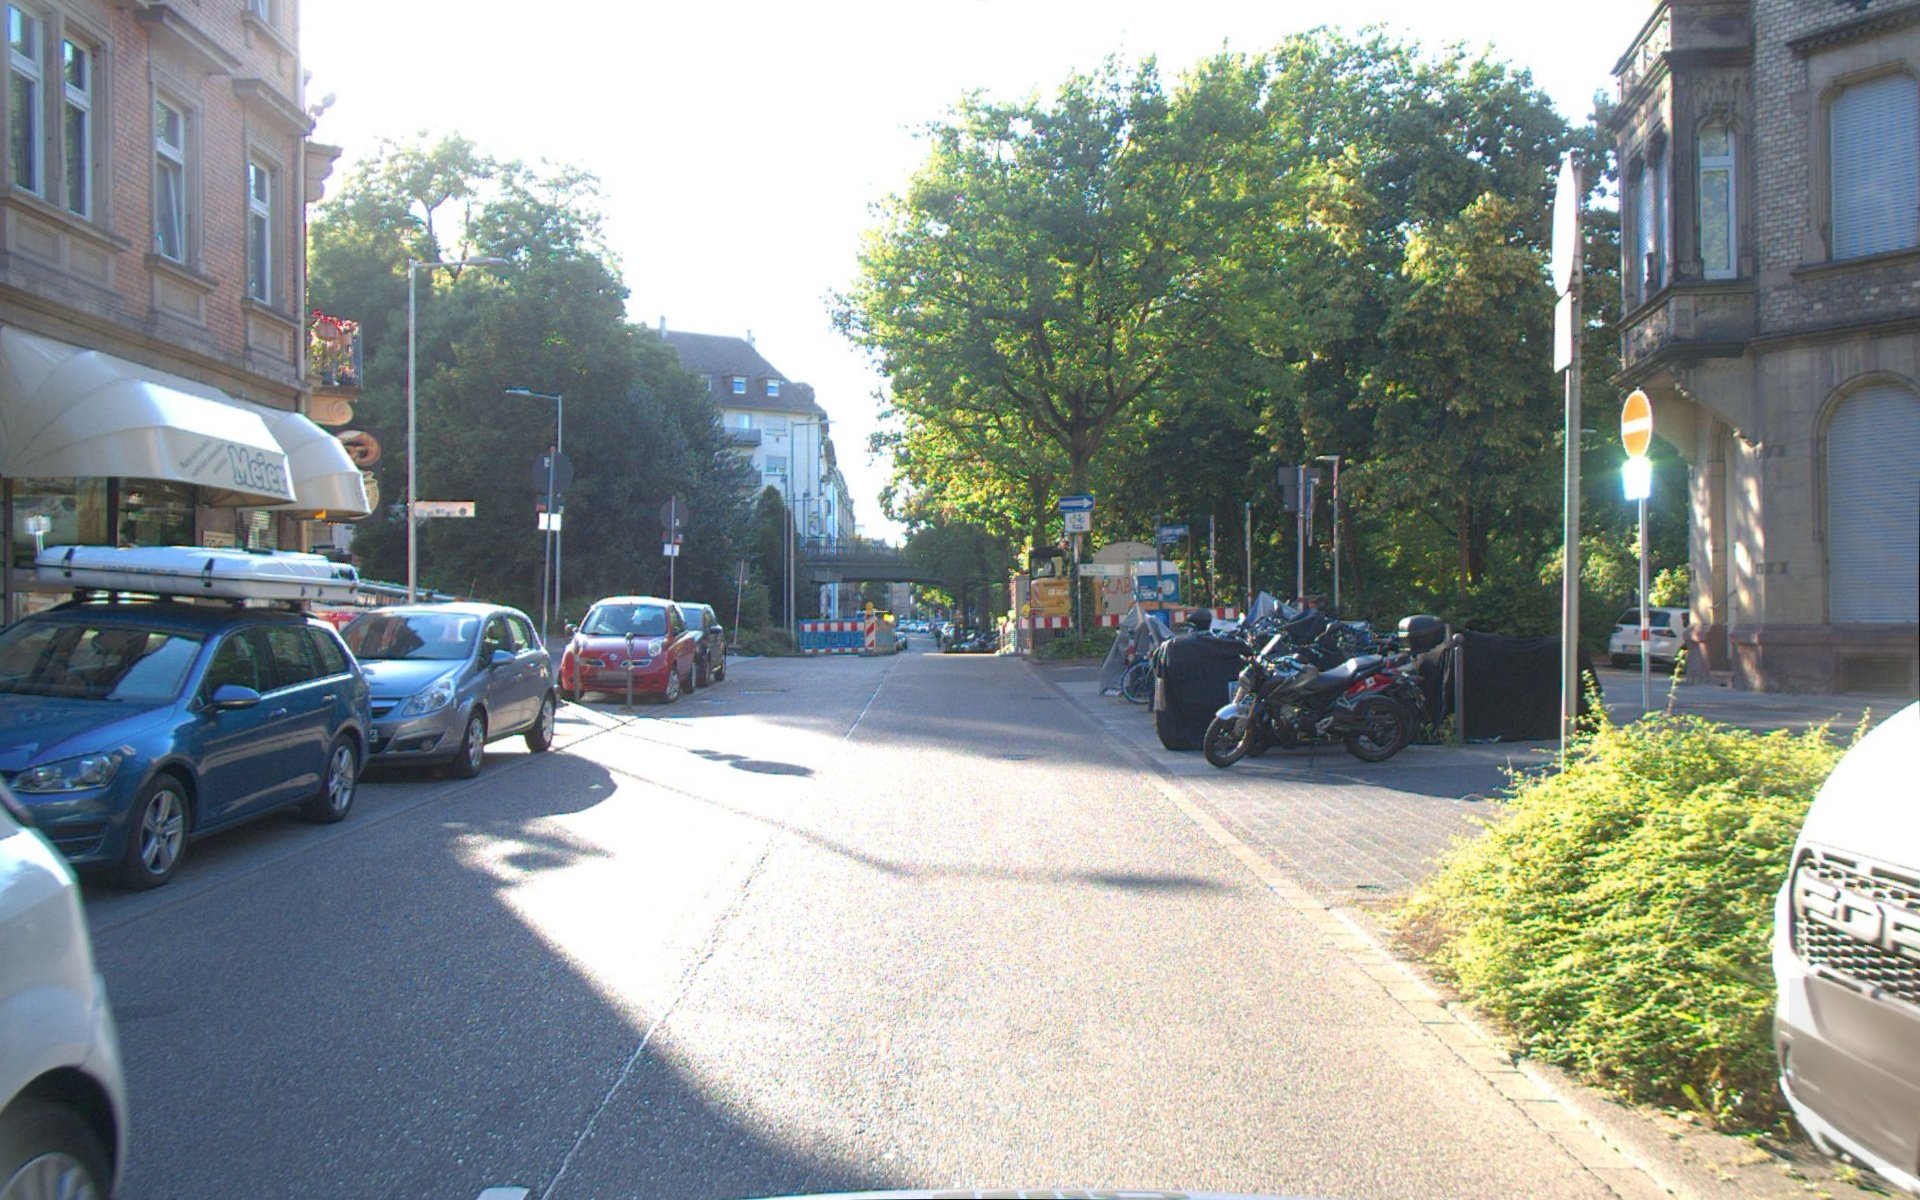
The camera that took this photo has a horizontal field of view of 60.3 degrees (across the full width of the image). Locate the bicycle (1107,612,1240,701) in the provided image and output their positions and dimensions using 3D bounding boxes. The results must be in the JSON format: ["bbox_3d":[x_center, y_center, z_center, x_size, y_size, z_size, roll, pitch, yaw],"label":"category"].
[{"bbox_3d":[3.087,0.808,23.891,1.887,1.268,0.302,0,0,-7],"label":"bicycle"}]

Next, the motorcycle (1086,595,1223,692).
[{"bbox_3d":[2.981,0.654,25.387,1.894,1.437,0.940,0,0,27],"label":"motorcycle"}]

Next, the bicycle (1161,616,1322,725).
[{"bbox_3d":[3.343,0.828,19.648,1.887,1.268,0.302,0,0,-7],"label":"bicycle"}]

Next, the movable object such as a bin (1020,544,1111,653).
[{"bbox_3d":[2.815,-0.028,43.631,1.951,2.747,3.113,0,-1,12],"label":"movable object such as a bin"}]

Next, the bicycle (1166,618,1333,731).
[{"bbox_3d":[3.320,0.850,19.003,1.887,1.268,0.302,0,0,-7],"label":"bicycle"}]

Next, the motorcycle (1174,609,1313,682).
[{"bbox_3d":[4.733,0.748,27.582,2.234,1.200,0.972,0,-1,12],"label":"motorcycle"}]

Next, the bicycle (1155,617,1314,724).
[{"bbox_3d":[3.320,0.841,19.981,1.887,1.268,0.302,0,0,-7],"label":"bicycle"}]

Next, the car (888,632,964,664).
[{"bbox_3d":[-2.001,2.780,96.110,4.300,1.732,1.915,1,-3,-4],"label":"car"}]

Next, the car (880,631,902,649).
[{"bbox_3d":[-5.955,3.459,142.823,1.776,1.422,3.973,-2,-3,-2],"label":"car"}]

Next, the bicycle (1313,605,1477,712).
[{"bbox_3d":[5.279,0.703,20.104,1.887,1.268,0.479,0,0,-7],"label":"bicycle"}]

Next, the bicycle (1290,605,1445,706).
[{"bbox_3d":[5.203,0.698,21.139,1.887,1.268,0.479,0,0,-7],"label":"bicycle"}]

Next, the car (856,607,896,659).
[{"bbox_3d":[-4.364,1.765,85.837,2.006,2.541,5.692,1,-3,-3],"label":"car"}]

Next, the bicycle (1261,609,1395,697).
[{"bbox_3d":[5.399,0.765,24.292,1.887,1.268,0.452,0,0,-7],"label":"bicycle"}]

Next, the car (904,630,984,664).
[{"bbox_3d":[-0.914,2.627,91.533,4.300,1.732,1.915,1,-3,-4],"label":"car"}]

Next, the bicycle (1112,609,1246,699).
[{"bbox_3d":[3.119,0.766,23.571,1.887,1.268,0.302,0,0,-7],"label":"bicycle"}]

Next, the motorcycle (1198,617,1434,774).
[{"bbox_3d":[3.171,0.838,14.816,1.975,1.350,0.620,0,0,-5],"label":"motorcycle"}]

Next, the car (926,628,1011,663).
[{"bbox_3d":[0.439,2.380,86.131,4.300,1.732,1.915,1,-3,-4],"label":"car"}]

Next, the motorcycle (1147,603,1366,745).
[{"bbox_3d":[2.974,0.726,16.736,1.982,1.307,0.903,-3,0,-3],"label":"motorcycle"}]

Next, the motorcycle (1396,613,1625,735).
[{"bbox_3d":[5.526,0.729,16.692,1.982,1.128,0.903,-2,0,-3],"label":"motorcycle"}]

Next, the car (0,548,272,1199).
[{"bbox_3d":[-2.373,0.696,1.680,1.713,1.535,3.999,-1,0,-1],"label":"car"}]

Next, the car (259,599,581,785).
[{"bbox_3d":[-4.881,0.752,15.548,1.690,1.462,3.995,1,0,0],"label":"car"}]

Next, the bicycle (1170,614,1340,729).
[{"bbox_3d":[3.334,0.798,18.696,1.887,1.268,0.302,0,0,-7],"label":"bicycle"}]

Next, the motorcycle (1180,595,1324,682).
[{"bbox_3d":[4.673,0.615,26.489,2.234,1.365,0.657,0,-1,11],"label":"motorcycle"}]

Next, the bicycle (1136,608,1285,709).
[{"bbox_3d":[3.217,0.744,21.270,1.887,1.268,0.302,0,0,-7],"label":"bicycle"}]

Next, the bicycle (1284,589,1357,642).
[{"bbox_3d":[9.206,0.382,42.309,1.006,1.308,2.140,-1,0,-13],"label":"bicycle"}]

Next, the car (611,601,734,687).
[{"bbox_3d":[-5.197,0.759,30.327,1.635,1.483,3.999,0,0,-1],"label":"car"}]

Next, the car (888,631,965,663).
[{"bbox_3d":[-1.904,2.678,93.839,4.300,1.732,1.915,1,-3,-4],"label":"car"}]

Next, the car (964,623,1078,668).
[{"bbox_3d":[2.405,1.820,65.658,4.301,1.634,1.914,1,-3,-5],"label":"car"}]

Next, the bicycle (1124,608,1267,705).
[{"bbox_3d":[3.122,0.742,21.958,1.869,1.268,0.302,0,0,-7],"label":"bicycle"}]

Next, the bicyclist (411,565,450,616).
[{"bbox_3d":[-14.978,-0.265,46.794,0.797,1.407,0.973,1,0,-36],"label":"bicyclist"}]

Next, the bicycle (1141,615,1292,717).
[{"bbox_3d":[3.247,0.823,20.934,1.887,1.268,0.302,0,0,-7],"label":"bicycle"}]

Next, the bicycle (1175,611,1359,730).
[{"bbox_3d":[3.365,0.762,18.197,1.887,1.268,0.647,0,0,-7],"label":"bicycle"}]

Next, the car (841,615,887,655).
[{"bbox_3d":[-3.778,1.425,65.882,1.681,1.443,4.104,-2,-3,-2],"label":"car"}]

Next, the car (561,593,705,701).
[{"bbox_3d":[-5.027,0.682,25.878,1.636,1.557,3.997,0,0,-3],"label":"car"}]

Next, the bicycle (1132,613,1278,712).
[{"bbox_3d":[3.198,0.814,21.609,1.887,1.268,0.302,0,0,-7],"label":"bicycle"}]

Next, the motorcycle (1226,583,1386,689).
[{"bbox_3d":[5.197,0.536,24.922,2.239,1.558,0.755,0,-1,-7],"label":"motorcycle"}]

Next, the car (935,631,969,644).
[{"bbox_3d":[-1.051,4.873,214.219,4.298,1.638,1.780,1,-3,-1],"label":"car"}]

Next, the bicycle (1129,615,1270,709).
[{"bbox_3d":[3.258,0.836,22.531,1.887,1.268,0.302,0,0,-7],"label":"bicycle"}]

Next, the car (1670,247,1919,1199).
[{"bbox_3d":[4.307,0.355,3.307,4.872,2.132,2.105,-1,0,-1],"label":"car"}]

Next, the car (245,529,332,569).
[{"bbox_3d":[-36.729,-2.751,90.510,4.310,2.049,1.921,1,0,-23],"label":"car"}]

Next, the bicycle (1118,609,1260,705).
[{"bbox_3d":[3.082,0.761,22.290,1.887,1.268,0.302,0,0,-7],"label":"bicycle"}]

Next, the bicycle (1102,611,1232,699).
[{"bbox_3d":[3.033,0.798,24.243,1.887,1.268,0.302,0,0,-7],"label":"bicycle"}]

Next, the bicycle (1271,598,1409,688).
[{"bbox_3d":[5.457,0.606,23.786,1.887,1.268,0.479,0,0,-7],"label":"bicycle"}]

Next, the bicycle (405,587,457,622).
[{"bbox_3d":[-14.977,0.122,46.804,0.797,0.985,2.081,1,0,-36],"label":"bicycle"}]

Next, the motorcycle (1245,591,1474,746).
[{"bbox_3d":[3.790,0.635,15.770,1.982,1.386,0.694,-2,0,-1],"label":"motorcycle"}]

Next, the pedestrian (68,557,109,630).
[{"bbox_3d":[-24.907,-0.181,47.265,0.932,2.049,0.947,0,0,-35],"label":"pedestrian"}]

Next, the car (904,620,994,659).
[{"bbox_3d":[-0.551,1.952,81.176,4.300,1.732,1.915,1,-3,-4],"label":"car"}]

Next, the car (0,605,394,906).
[{"bbox_3d":[-5.073,0.779,10.325,1.729,1.462,4.299,0,0,-2],"label":"car"}]

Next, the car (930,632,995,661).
[{"bbox_3d":[0.159,3.153,111.527,4.300,1.816,1.915,1,-3,-4],"label":"car"}]

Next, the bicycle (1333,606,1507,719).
[{"bbox_3d":[5.289,0.709,19.044,1.887,1.268,0.479,0,0,-7],"label":"bicycle"}]

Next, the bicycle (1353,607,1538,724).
[{"bbox_3d":[5.407,0.712,18.451,1.887,1.268,0.647,0,0,-7],"label":"bicycle"}]

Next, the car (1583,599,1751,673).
[{"bbox_3d":[16.515,0.851,38.560,3.958,1.437,1.857,4,1,-38],"label":"car"}]

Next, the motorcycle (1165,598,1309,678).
[{"bbox_3d":[4.843,0.649,29.005,2.322,1.365,0.938,0,-1,-11],"label":"motorcycle"}]

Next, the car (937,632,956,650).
[{"bbox_3d":[-1.219,3.676,148.830,1.739,1.638,4.400,0,-1,-1],"label":"car"}]

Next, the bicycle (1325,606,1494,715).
[{"bbox_3d":[5.316,0.706,19.591,1.887,1.268,0.479,0,0,-7],"label":"bicycle"}]

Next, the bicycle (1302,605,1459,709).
[{"bbox_3d":[5.236,0.701,20.608,1.887,1.268,0.395,0,0,-7],"label":"bicycle"}]

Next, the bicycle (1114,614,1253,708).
[{"bbox_3d":[3.089,0.838,22.855,1.887,1.268,0.302,0,0,-7],"label":"bicycle"}]
